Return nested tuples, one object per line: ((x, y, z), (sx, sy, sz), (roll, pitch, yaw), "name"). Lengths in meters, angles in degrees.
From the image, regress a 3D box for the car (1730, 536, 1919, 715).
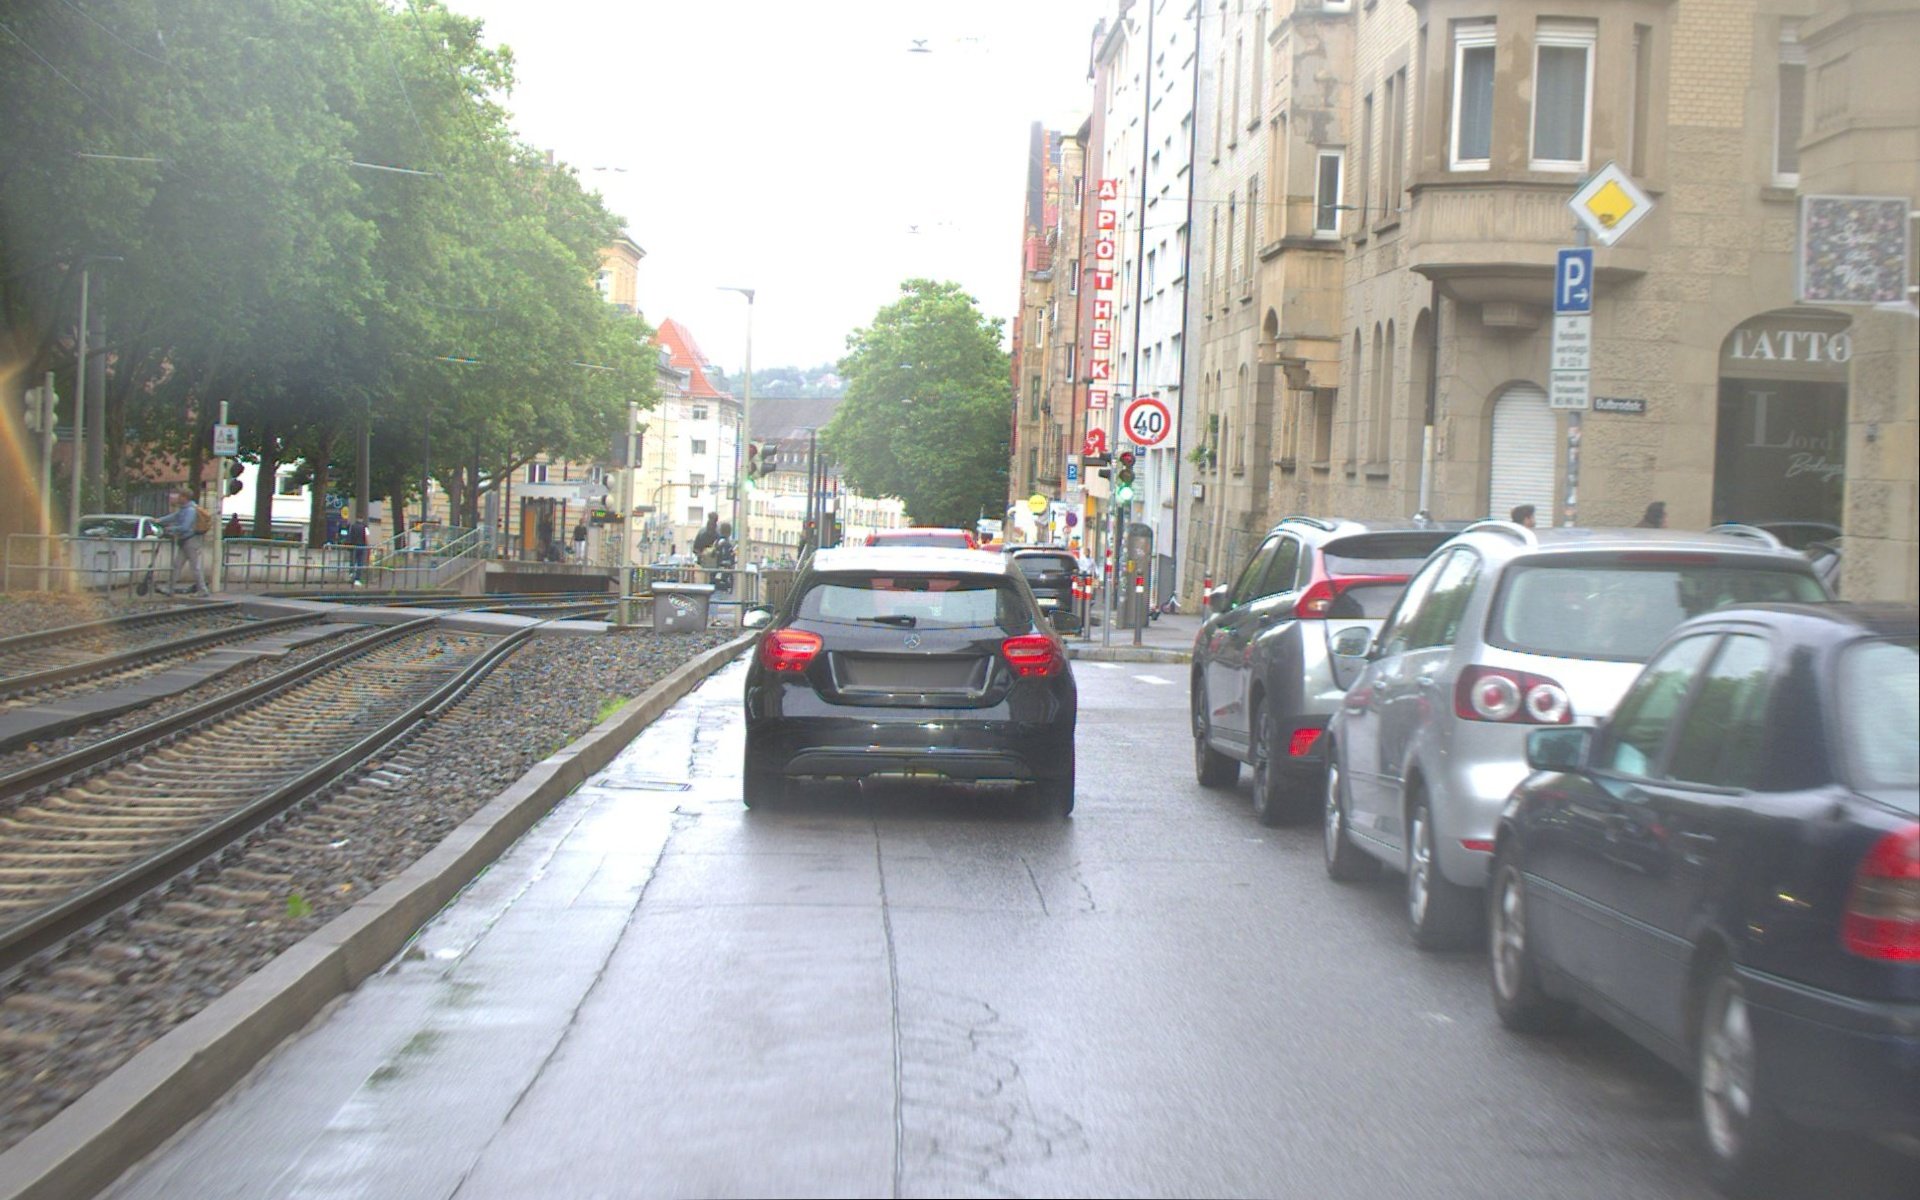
((9.067, 0.202, 29.690), (4.451, 1.479, 1.864), (0, 2, 2), "car")

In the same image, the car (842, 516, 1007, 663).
((-0.423, -0.162, 39.861), (1.785, 1.575, 4.000), (1, 1, -1), "car")

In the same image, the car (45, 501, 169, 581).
((-16.684, -1.178, 67.383), (1.658, 1.492, 3.787), (2, 1, -4), "car")

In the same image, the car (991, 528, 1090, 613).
((1.582, -0.618, 68.419), (1.827, 1.612, 3.864), (0, 2, -1), "car")

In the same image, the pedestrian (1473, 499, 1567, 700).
((5.028, -0.014, 30.900), (0.694, 1.781, 0.758), (-1, 1, -2), "pedestrian")

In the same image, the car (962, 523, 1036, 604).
((0.980, -0.968, 88.147), (1.759, 2.006, 4.001), (0, 2, -1), "car")

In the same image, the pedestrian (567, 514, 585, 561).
((-14.193, -2.313, 127.160), (0.518, 1.711, 0.551), (3, 1, -1), "pedestrian")

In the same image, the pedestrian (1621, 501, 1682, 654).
((7.677, -0.254, 38.168), (0.548, 1.682, 0.626), (1, 1, 3), "pedestrian")

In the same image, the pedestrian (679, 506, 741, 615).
((-4.655, -0.743, 63.914), (1.137, 1.991, 1.173), (0, 1, -5), "pedestrian")

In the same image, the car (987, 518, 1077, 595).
((1.501, -0.941, 72.996), (1.759, 1.573, 4.001), (0, 2, -1), "car")

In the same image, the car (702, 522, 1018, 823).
((-0.554, 0.333, 19.351), (1.580, 1.499, 3.575), (1, 1, -1), "car")

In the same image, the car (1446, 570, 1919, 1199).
((2.534, 0.655, 9.045), (1.717, 1.342, 4.462), (2, 1, -2), "car")

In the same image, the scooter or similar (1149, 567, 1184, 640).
((3.868, 0.064, 64.440), (0.448, 1.316, 1.778), (0, 2, -4), "scooter or similar")

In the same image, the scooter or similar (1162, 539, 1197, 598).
((5.047, -0.740, 79.034), (0.448, 1.316, 1.778), (0, 2, -8), "scooter or similar")

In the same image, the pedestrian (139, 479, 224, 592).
((-12.132, -1.010, 53.588), (1.054, 1.713, 0.904), (2, 1, 1), "pedestrian")

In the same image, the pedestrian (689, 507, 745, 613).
((-3.758, -0.631, 53.178), (0.806, 1.628, 0.892), (0, 1, 0), "pedestrian")

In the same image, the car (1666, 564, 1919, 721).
((9.613, 0.423, 35.281), (4.336, 1.526, 1.892), (1, 1, 1), "car")

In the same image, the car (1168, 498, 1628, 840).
((2.342, 0.301, 19.500), (1.766, 1.662, 4.333), (2, 1, -3), "car")

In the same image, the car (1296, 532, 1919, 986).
((2.445, 0.513, 13.944), (1.693, 1.524, 4.000), (2, 1, -1), "car")
